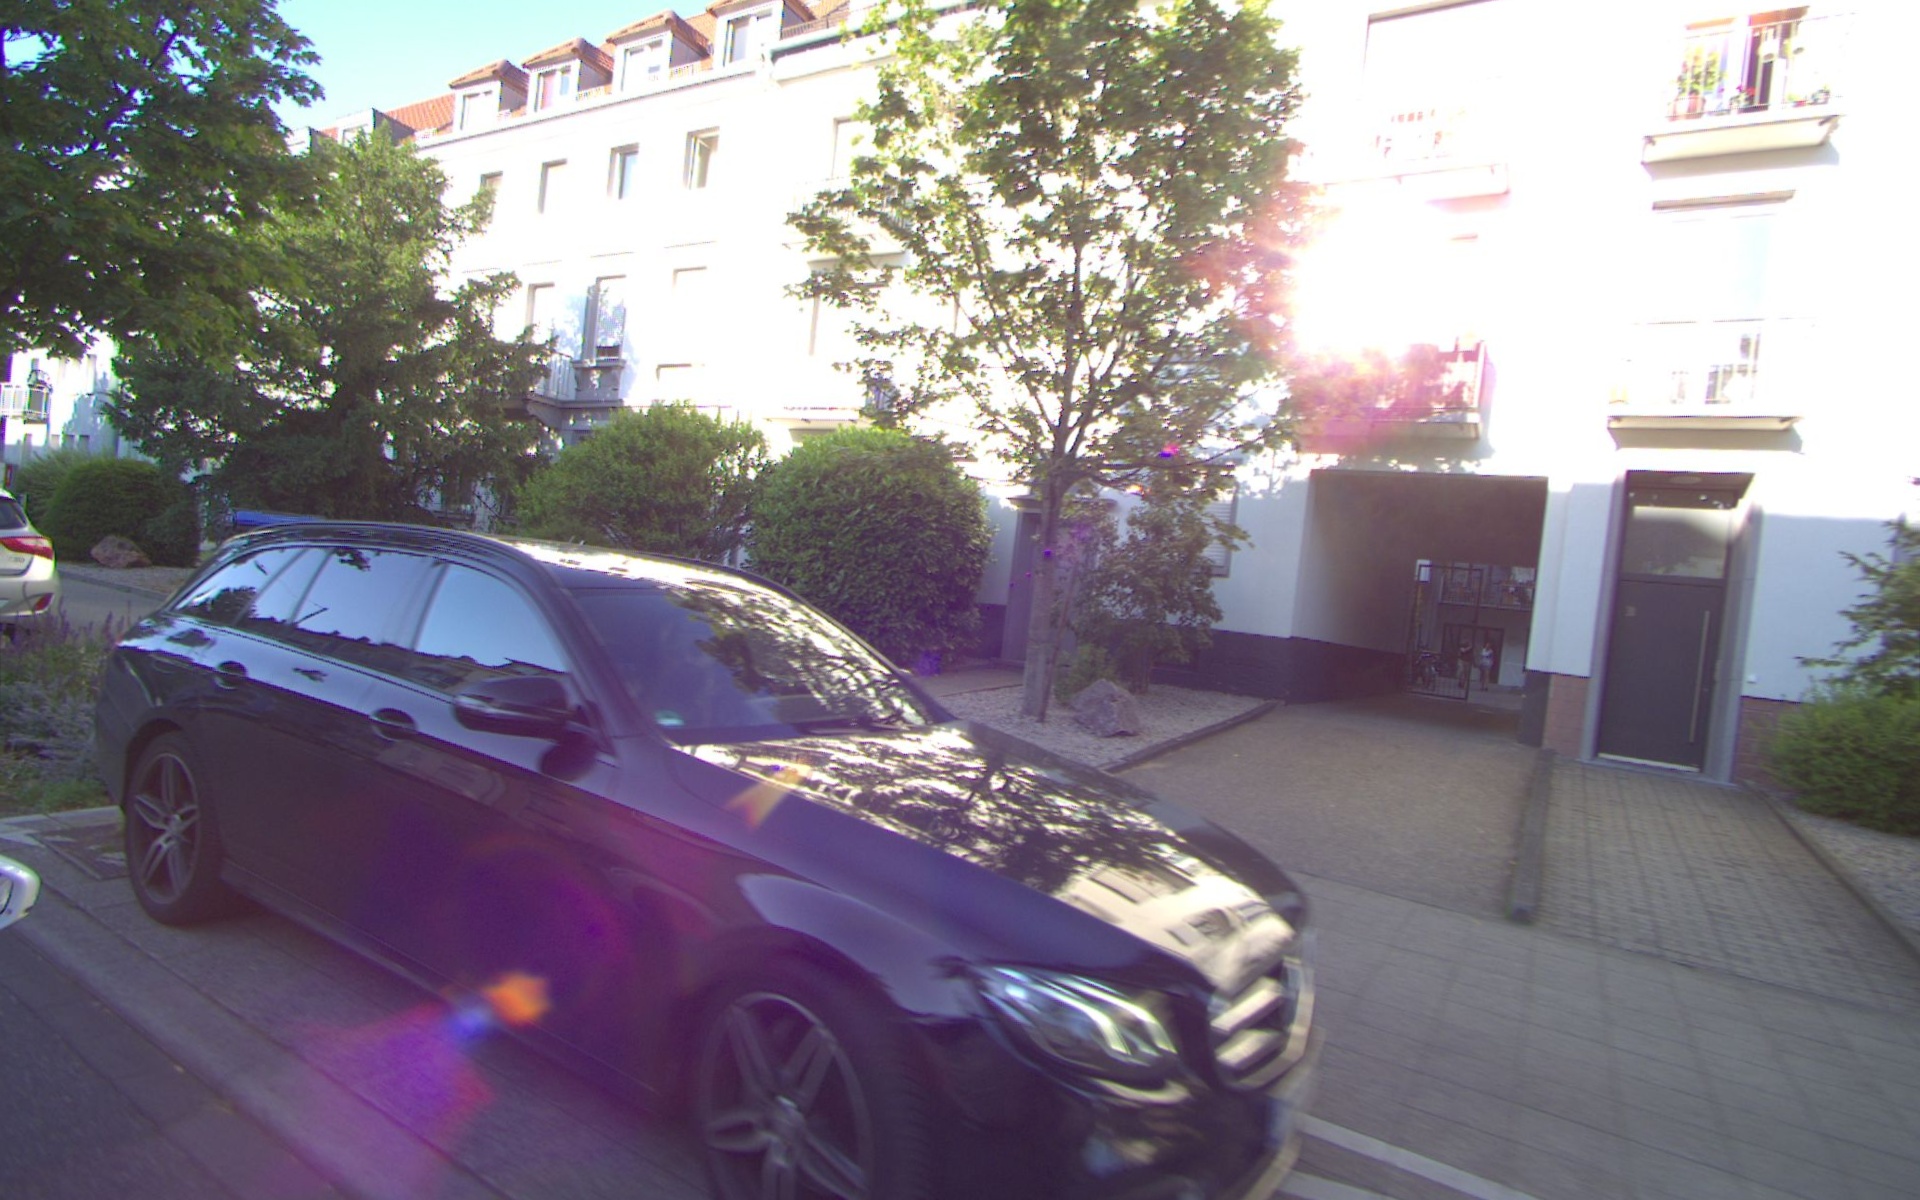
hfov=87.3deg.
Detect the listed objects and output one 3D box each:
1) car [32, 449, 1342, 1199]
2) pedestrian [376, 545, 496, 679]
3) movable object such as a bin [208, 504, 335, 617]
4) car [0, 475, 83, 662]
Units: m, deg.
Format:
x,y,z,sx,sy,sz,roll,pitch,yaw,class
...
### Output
x,y,z,sx,sy,sz,roll,pitch,yaw,class
-1.354,0.445,3.690,4.742,1.601,1.875,7,1,33,car
-5.327,0.124,10.241,0.777,1.249,0.674,6,0,32,pedestrian
-10.228,-0.582,14.946,1.123,1.512,1.264,7,3,41,movable object such as a bin
-9.826,-0.494,8.947,4.320,1.512,1.720,7,0,31,car
